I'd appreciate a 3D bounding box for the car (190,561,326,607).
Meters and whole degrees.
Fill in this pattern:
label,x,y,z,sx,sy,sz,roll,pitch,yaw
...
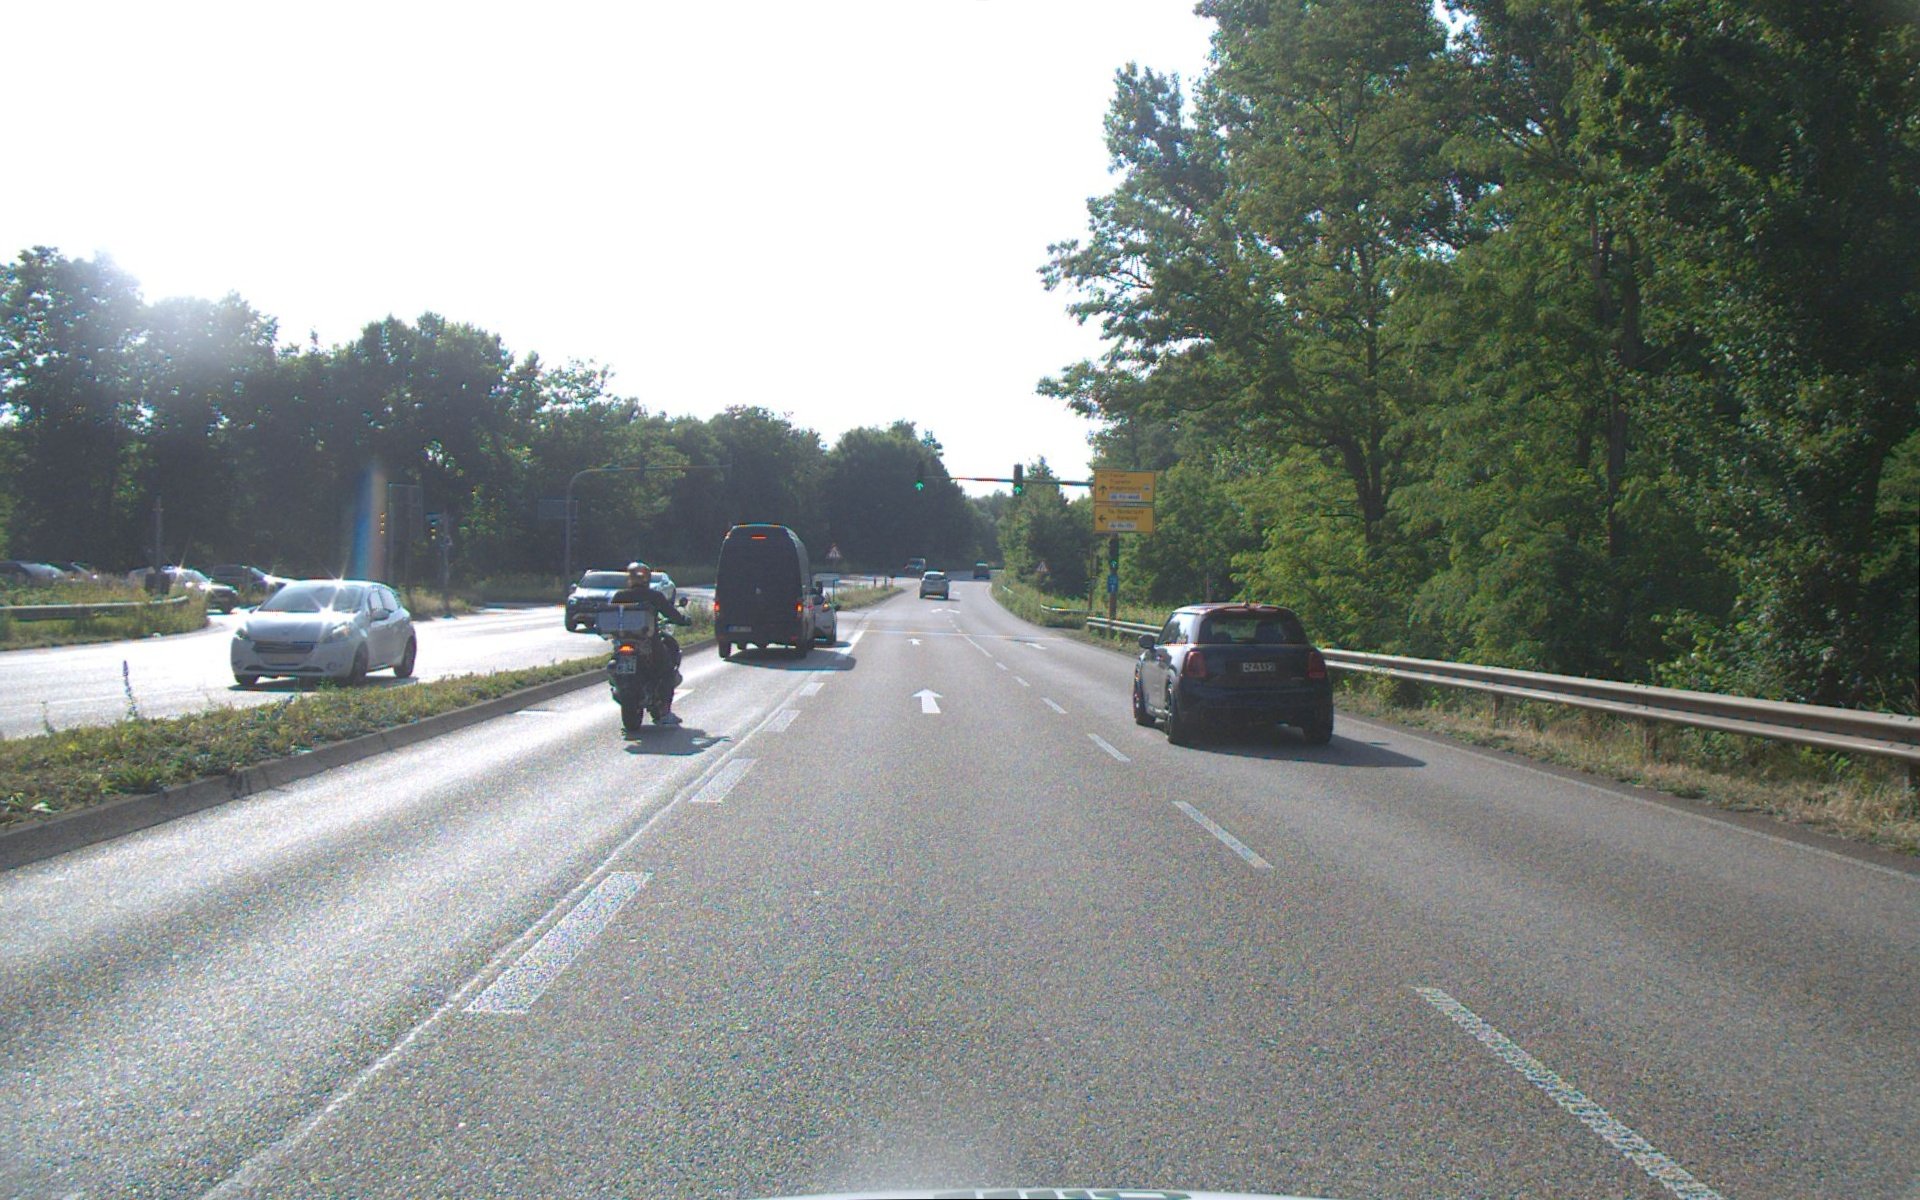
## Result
label,x,y,z,sx,sy,sz,roll,pitch,yaw
car,-27.024,-0.610,63.755,4.320,1.516,1.999,3,0,-3

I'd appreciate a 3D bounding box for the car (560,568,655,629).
label,x,y,z,sx,sy,sz,roll,pitch,yaw
car,-10.885,-0.062,51.381,2.034,1.794,4.755,0,1,-2

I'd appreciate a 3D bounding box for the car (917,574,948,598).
label,x,y,z,sx,sy,sz,roll,pitch,yaw
car,-1.770,-0.907,107.131,1.725,1.404,3.973,3,0,2

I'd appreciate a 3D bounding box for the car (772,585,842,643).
label,x,y,z,sx,sy,sz,roll,pitch,yaw
car,-4.190,0.363,45.762,1.612,1.515,4.103,0,1,-1

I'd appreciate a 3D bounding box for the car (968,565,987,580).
label,x,y,z,sx,sy,sz,roll,pitch,yaw
car,1.938,-3.098,183.794,1.710,1.564,3.924,3,1,-3

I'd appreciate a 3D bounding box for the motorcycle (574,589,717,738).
label,x,y,z,sx,sy,sz,roll,pitch,yaw
motorcycle,-3.423,0.646,18.309,0.890,1.479,2.690,-2,1,3

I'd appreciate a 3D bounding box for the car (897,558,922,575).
label,x,y,z,sx,sy,sz,roll,pitch,yaw
car,-5.830,-3.831,191.815,1.811,1.817,4.674,3,0,11

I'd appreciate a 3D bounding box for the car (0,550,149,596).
label,x,y,z,sx,sy,sz,roll,pitch,yaw
car,-34.621,-1.058,64.498,4.868,1.516,2.209,3,0,6

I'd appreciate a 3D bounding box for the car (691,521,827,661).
label,x,y,z,sx,sy,sz,roll,pitch,yaw
car,-4.519,-0.223,38.382,2.164,2.939,7.012,0,1,1

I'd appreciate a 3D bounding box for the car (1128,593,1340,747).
label,x,y,z,sx,sy,sz,roll,pitch,yaw
car,2.947,0.690,18.525,1.782,1.493,3.873,1,0,1

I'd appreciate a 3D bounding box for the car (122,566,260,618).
label,x,y,z,sx,sy,sz,roll,pitch,yaw
car,-26.149,-0.260,56.227,4.463,1.516,1.996,3,1,30

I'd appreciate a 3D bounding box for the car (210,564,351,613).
label,x,y,z,sx,sy,sz,roll,pitch,yaw
car,-24.922,-0.419,60.711,4.314,1.516,2.002,3,0,8

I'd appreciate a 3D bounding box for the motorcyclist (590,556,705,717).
label,x,y,z,sx,sy,sz,roll,pitch,yaw
motorcyclist,-3.382,0.380,18.027,0.865,1.644,1.291,3,0,3

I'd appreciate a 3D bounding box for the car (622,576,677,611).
label,x,y,z,sx,sy,sz,roll,pitch,yaw
car,-14.266,-0.319,76.143,1.845,1.529,4.263,0,1,-2

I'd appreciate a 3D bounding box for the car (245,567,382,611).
label,x,y,z,sx,sy,sz,roll,pitch,yaw
car,-26.017,-0.446,66.683,4.616,1.516,2.167,3,0,-3

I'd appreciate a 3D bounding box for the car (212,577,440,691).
label,x,y,z,sx,sy,sz,roll,pitch,yaw
car,-9.159,0.435,24.274,1.752,1.436,4.226,3,1,-2
